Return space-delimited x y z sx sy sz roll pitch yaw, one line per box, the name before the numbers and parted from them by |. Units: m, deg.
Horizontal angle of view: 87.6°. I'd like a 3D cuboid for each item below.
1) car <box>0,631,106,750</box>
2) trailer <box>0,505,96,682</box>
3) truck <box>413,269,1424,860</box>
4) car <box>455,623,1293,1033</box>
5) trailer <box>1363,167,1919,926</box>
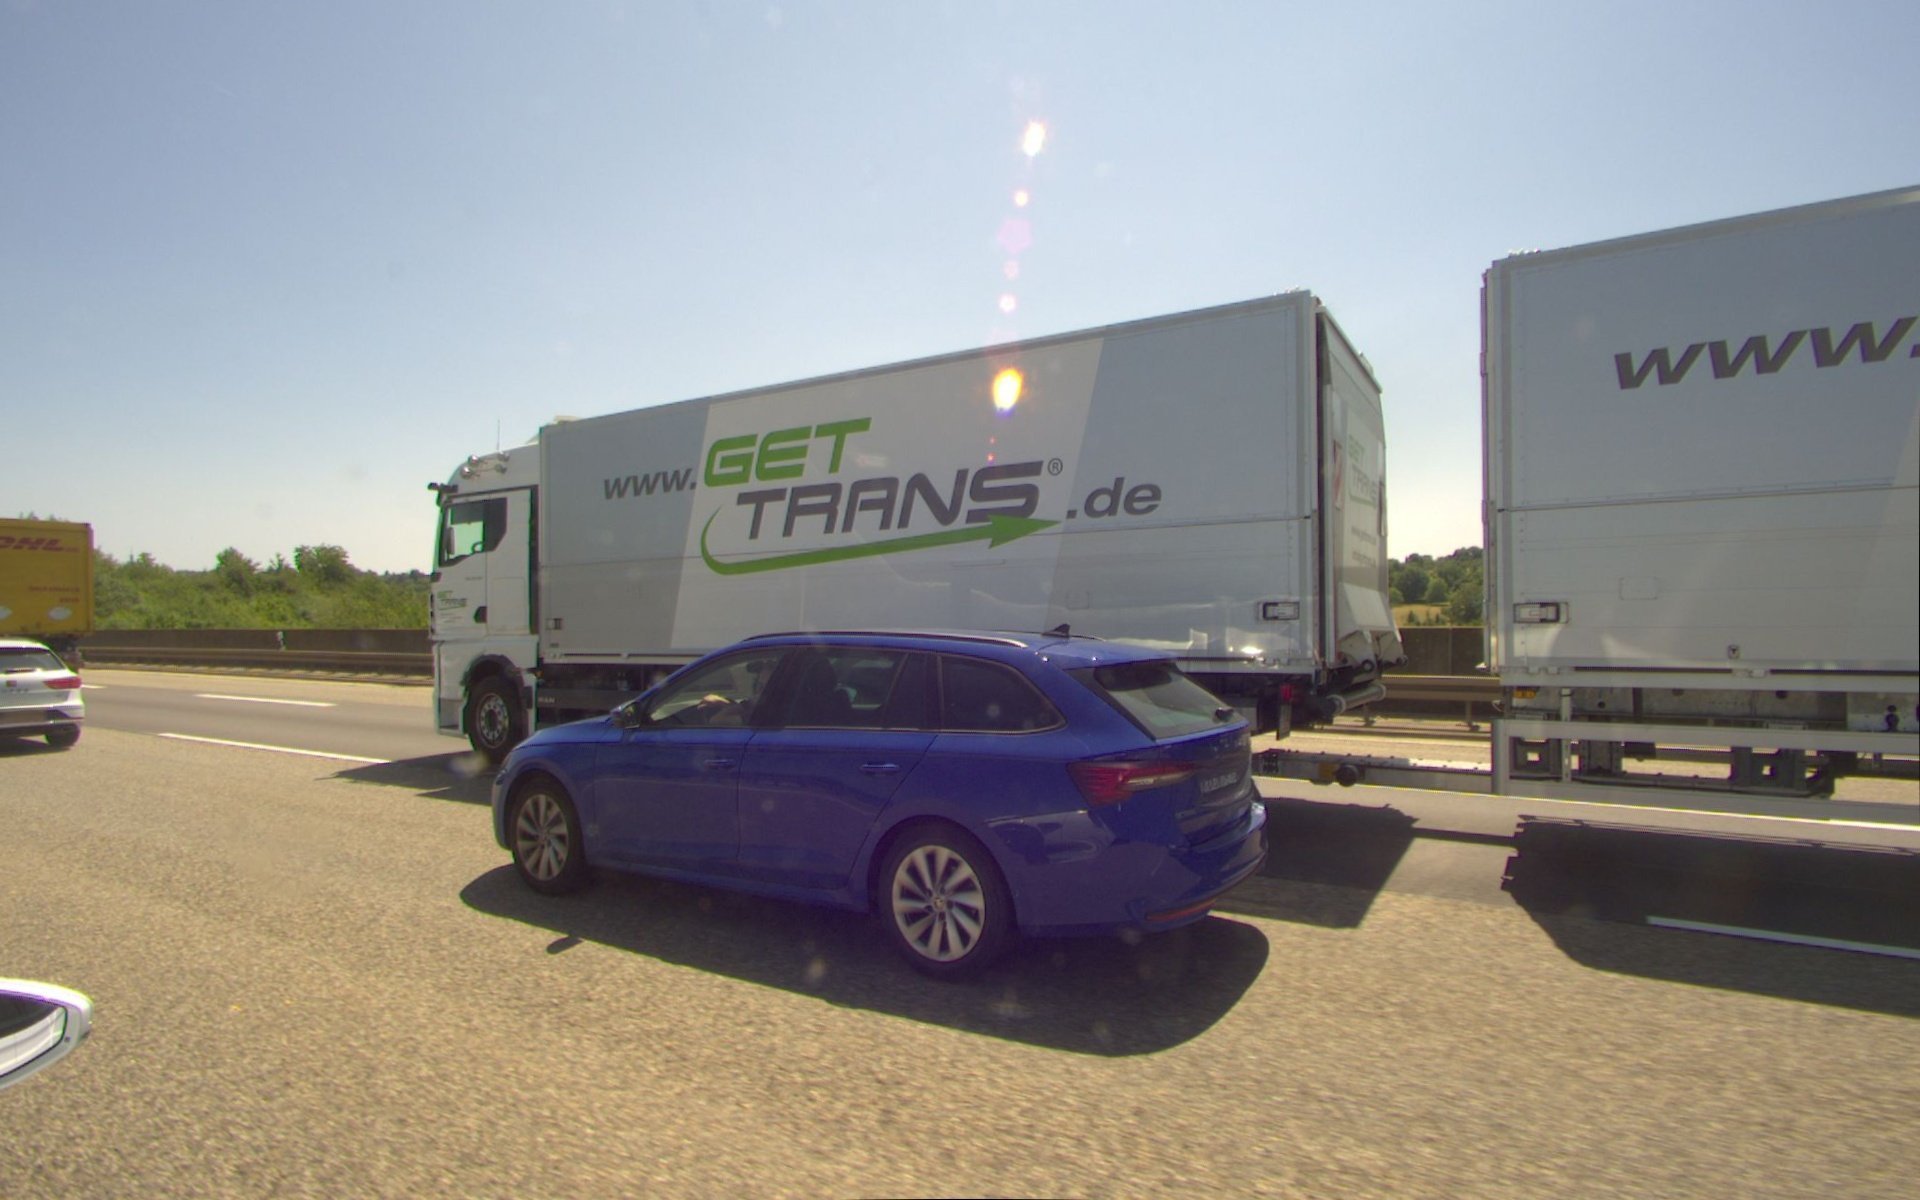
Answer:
car | -13.137 1.125 13.181 4.128 1.405 1.778 -1 -1 33
trailer | -25.643 -0.033 25.857 8.806 4.074 2.696 -2 -2 33
truck | -1.258 -0.067 10.241 10.616 3.648 2.846 -1 -2 32
car | -0.650 0.863 5.469 4.435 1.459 1.707 -1 -1 31
trailer | 6.667 -0.244 5.163 8.174 3.640 2.839 -1 -1 33
